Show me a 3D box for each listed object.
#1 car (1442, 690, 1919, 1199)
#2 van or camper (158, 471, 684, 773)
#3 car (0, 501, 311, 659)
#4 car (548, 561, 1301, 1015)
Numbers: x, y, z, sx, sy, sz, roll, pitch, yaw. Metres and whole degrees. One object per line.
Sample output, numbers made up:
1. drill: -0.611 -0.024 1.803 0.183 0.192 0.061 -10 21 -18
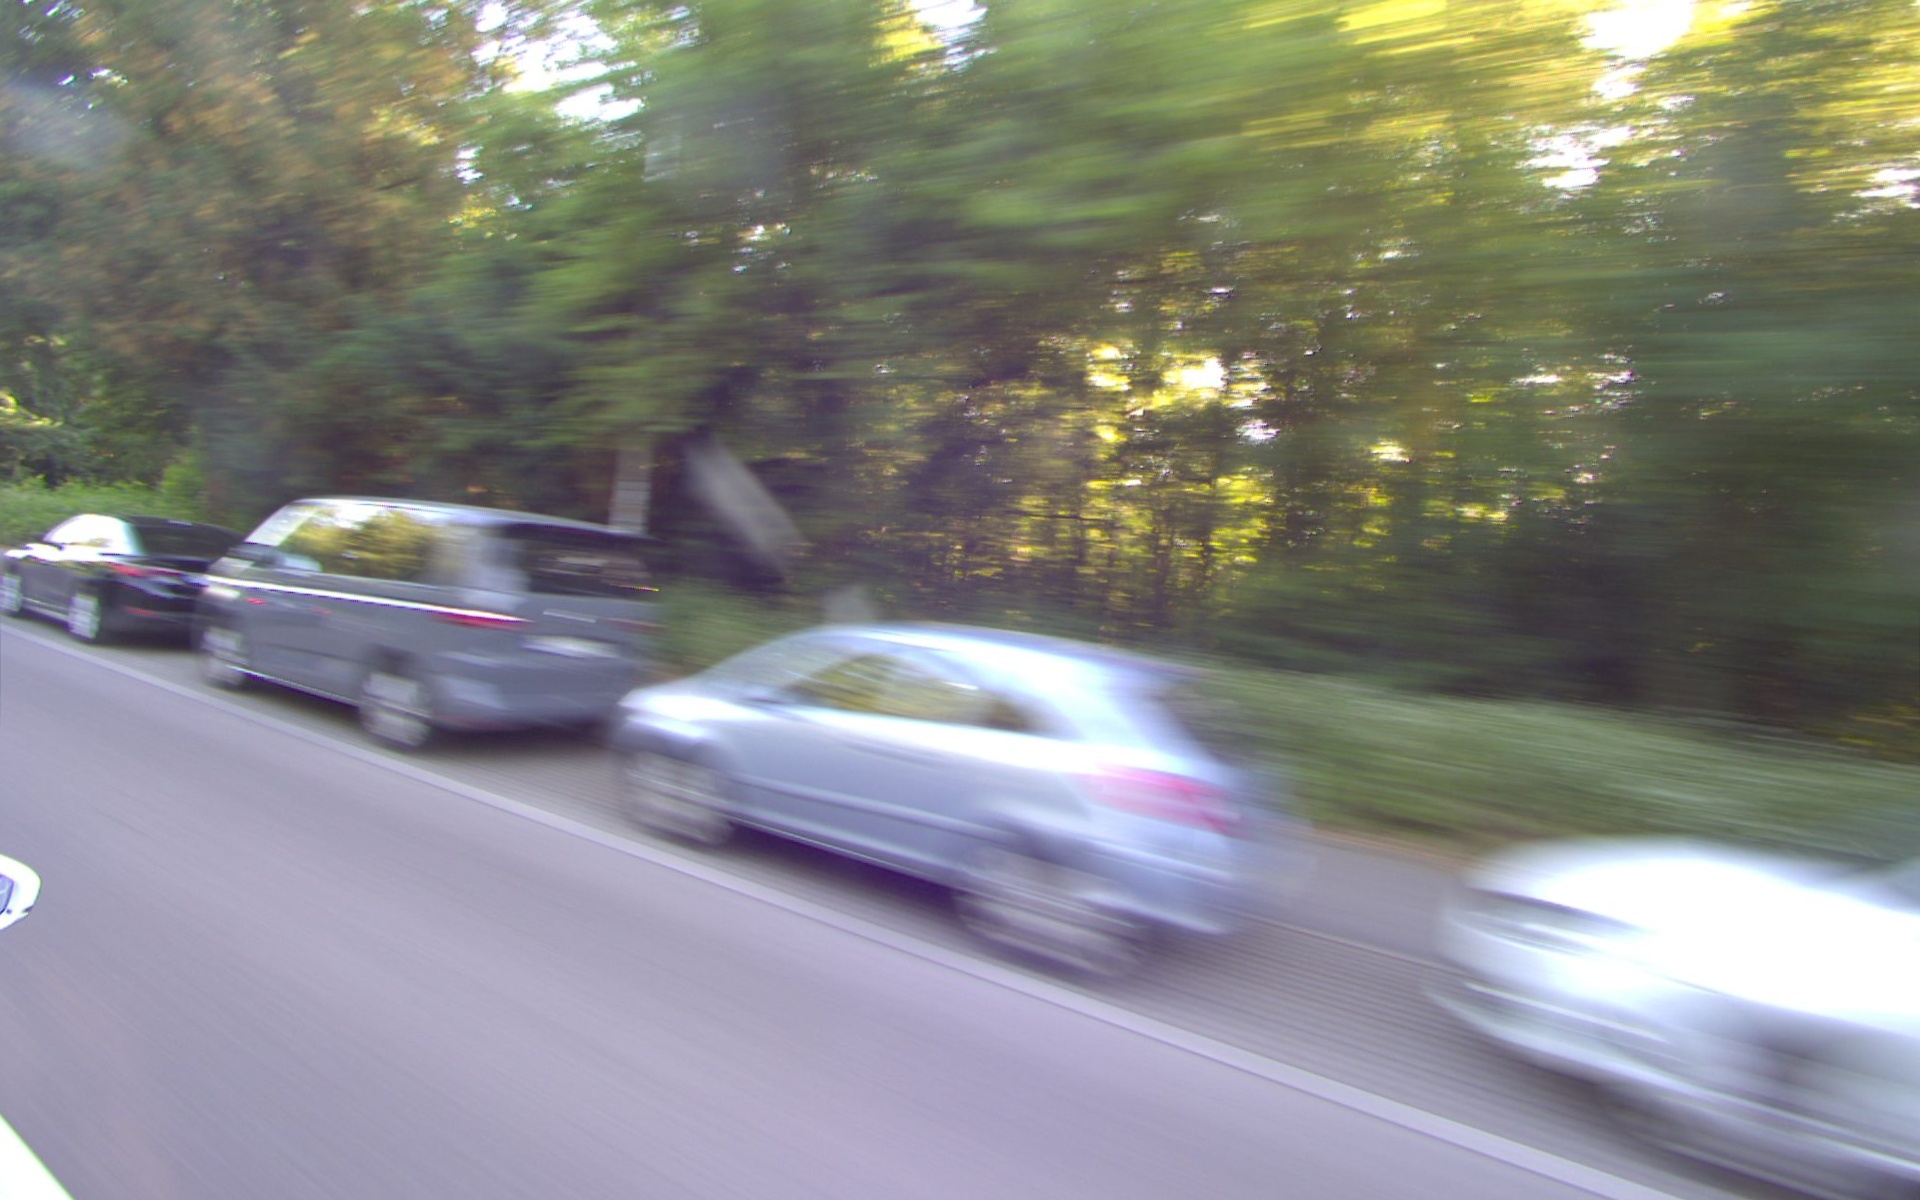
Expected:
1. car: 3.999 1.349 3.344 4.033 1.460 1.728 7 2 33
2. van or camper: -5.058 0.043 9.152 5.050 1.973 1.894 7 0 33
3. car: -10.291 -0.305 12.561 4.877 1.460 1.838 7 2 34
4. car: -0.381 0.776 5.992 4.149 1.563 1.728 7 1 34
